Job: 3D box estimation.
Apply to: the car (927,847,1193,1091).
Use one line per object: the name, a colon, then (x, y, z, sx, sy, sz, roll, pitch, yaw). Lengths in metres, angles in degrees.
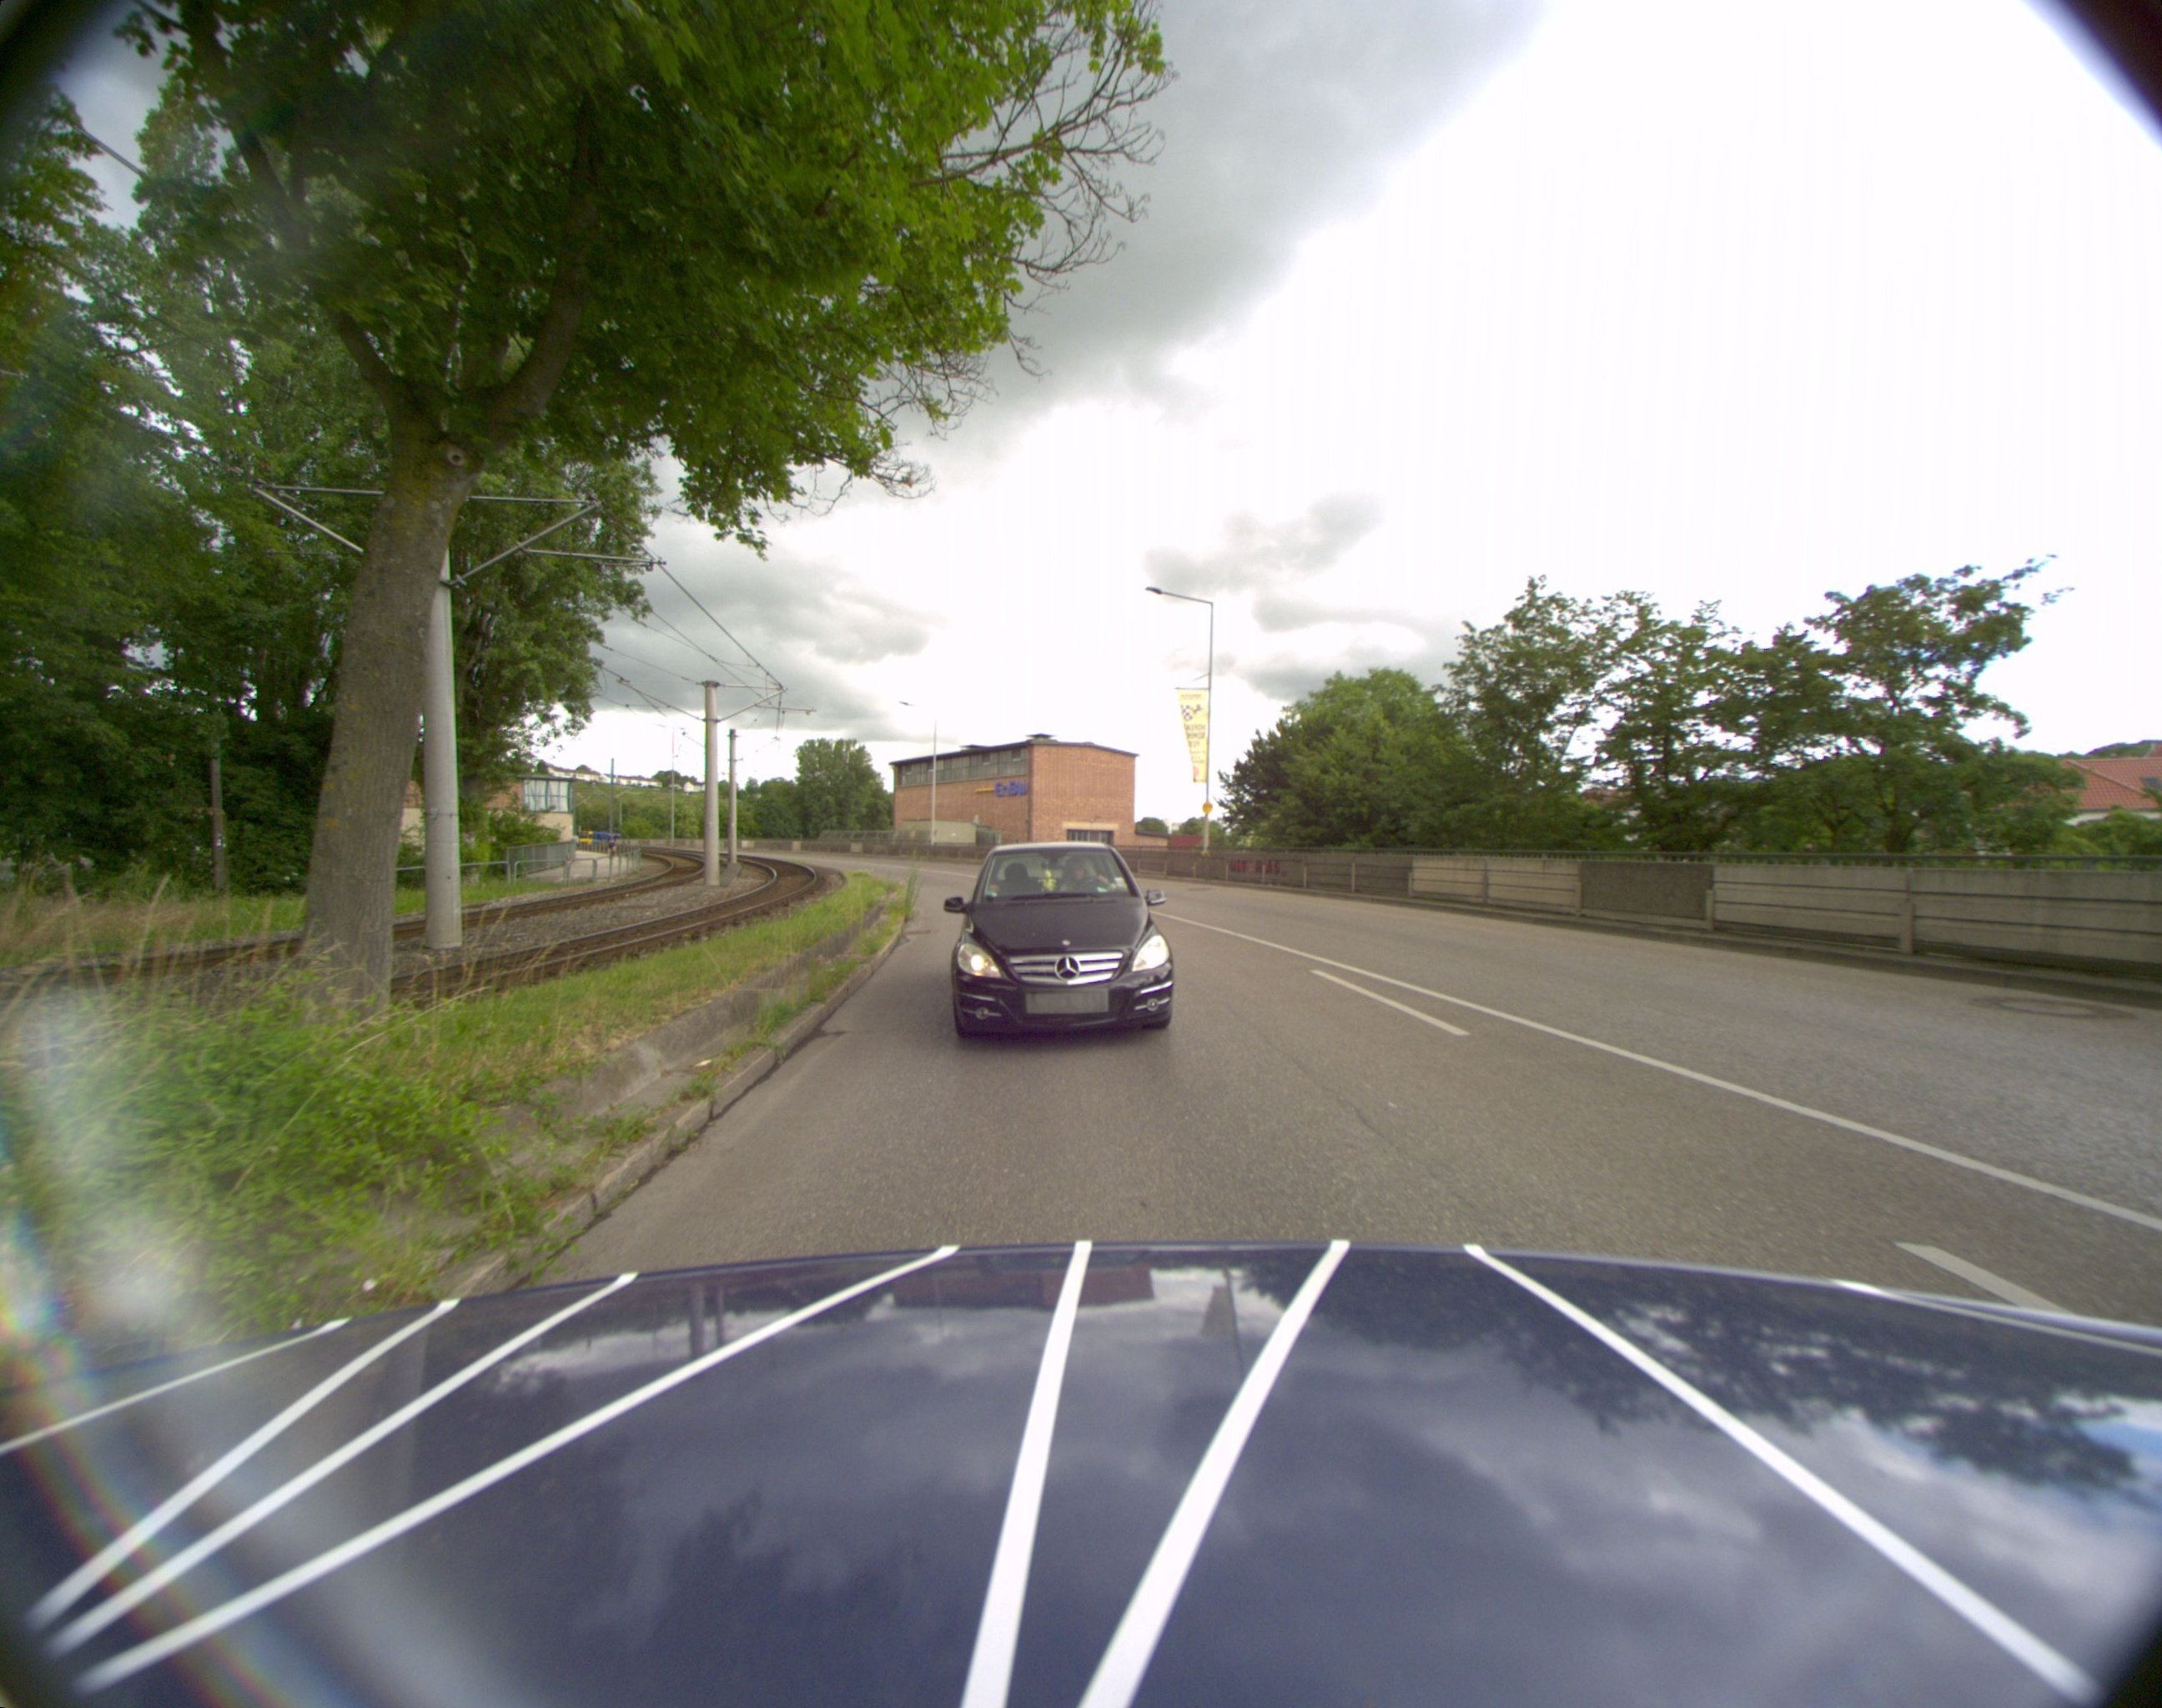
car: (-0.229, 0.800, 7.354, 1.861, 1.613, 3.997, 0, 2, -2)

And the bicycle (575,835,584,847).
bicycle: (-45.817, -1.202, 69.414, 0.428, 1.044, 2.074, -3, 2, -38)

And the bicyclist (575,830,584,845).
bicyclist: (-45.763, -1.488, 69.337, 0.596, 1.353, 0.908, -3, 2, -39)

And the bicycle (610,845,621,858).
bicycle: (-29.312, -0.150, 47.885, 0.348, 0.790, 1.544, -1, 1, -23)

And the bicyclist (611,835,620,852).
bicyclist: (-29.325, -0.645, 47.852, 0.418, 1.078, 0.473, -1, 2, -23)
